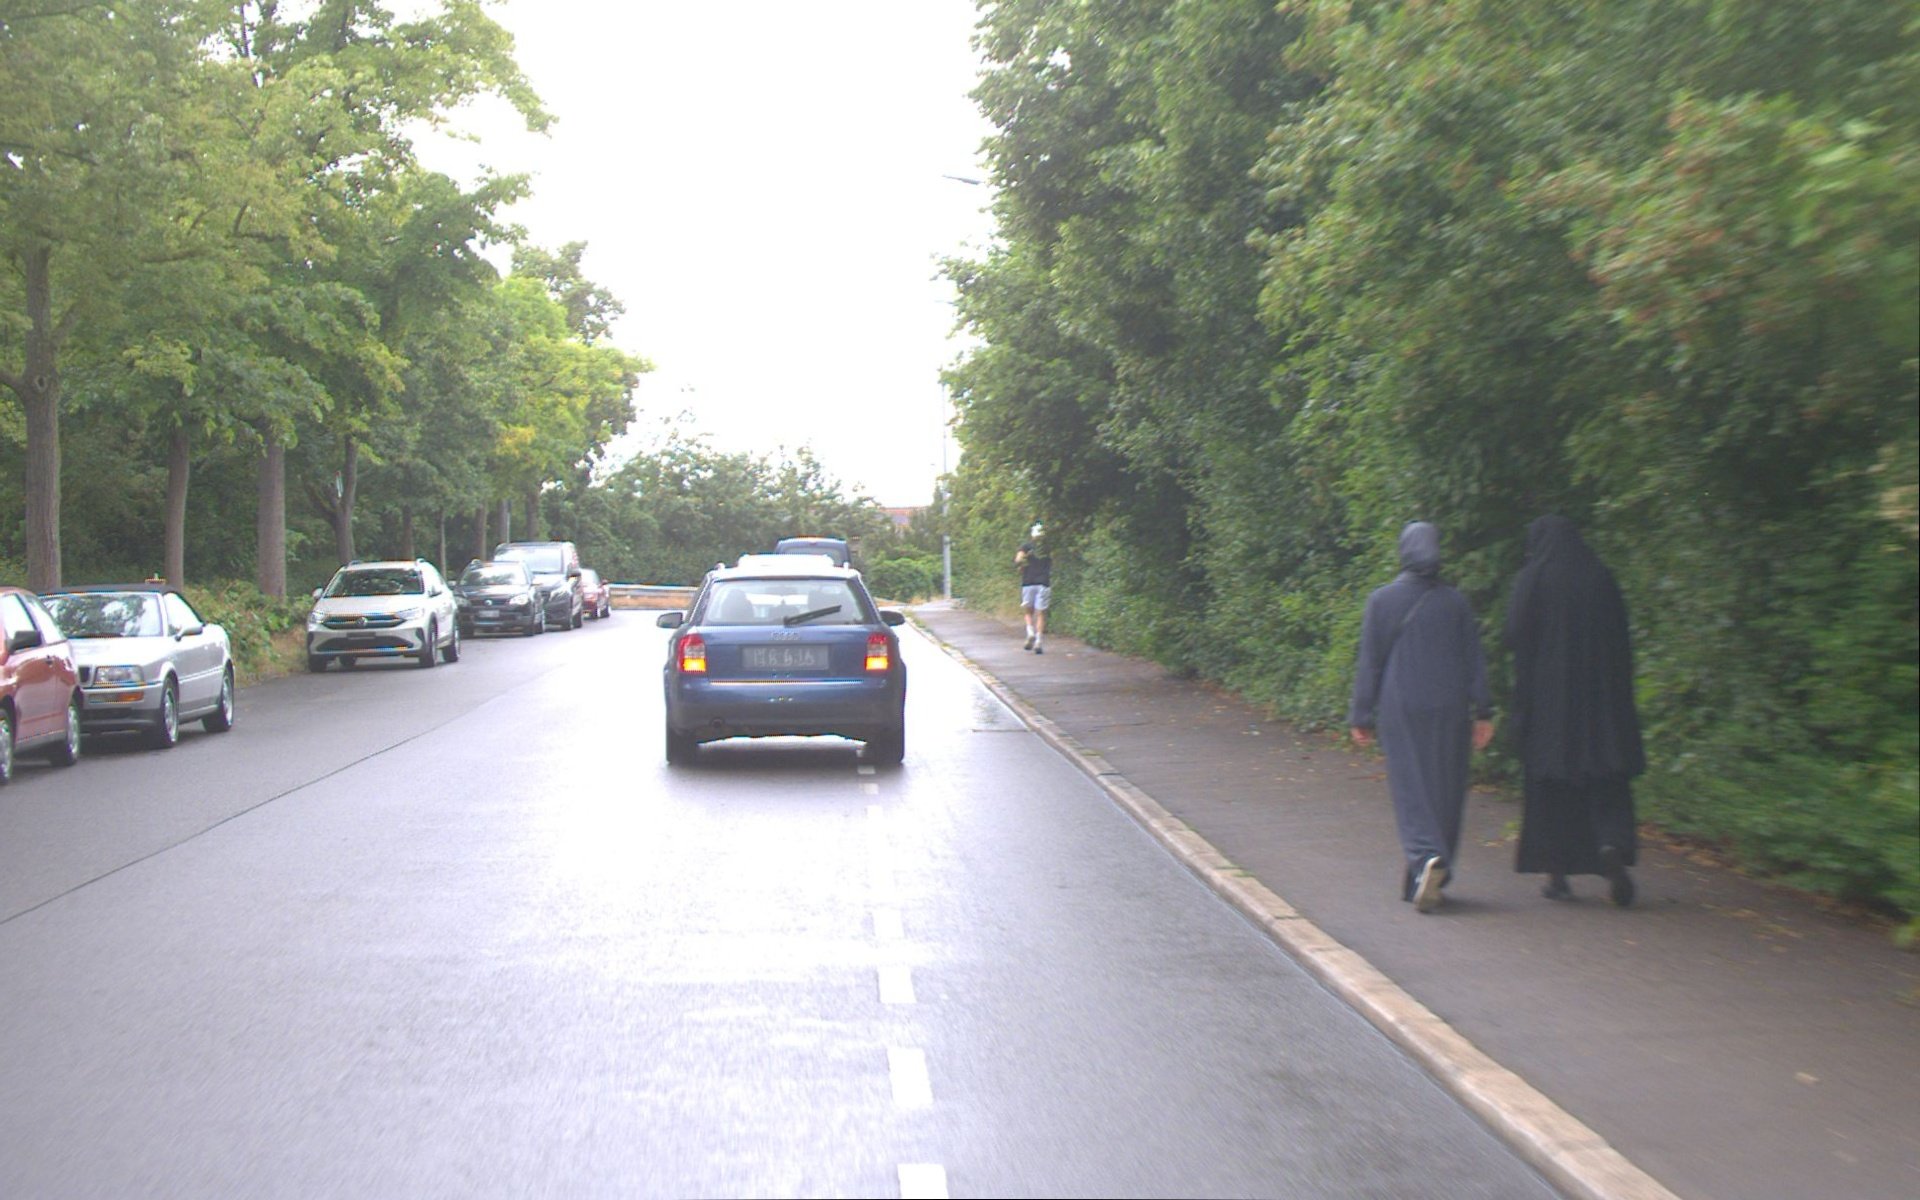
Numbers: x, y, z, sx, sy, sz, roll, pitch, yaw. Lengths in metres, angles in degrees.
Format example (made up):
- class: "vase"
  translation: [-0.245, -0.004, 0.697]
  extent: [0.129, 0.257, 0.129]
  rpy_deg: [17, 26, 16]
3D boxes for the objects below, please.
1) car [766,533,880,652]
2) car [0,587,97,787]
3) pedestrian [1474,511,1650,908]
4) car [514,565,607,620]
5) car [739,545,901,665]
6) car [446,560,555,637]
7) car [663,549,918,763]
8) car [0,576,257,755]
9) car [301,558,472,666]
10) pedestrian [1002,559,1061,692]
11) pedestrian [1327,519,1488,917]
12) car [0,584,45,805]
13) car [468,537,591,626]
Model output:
- class: "car"
  translation: [-2.524, -0.102, 62.416]
  extent: [1.788, 1.947, 4.000]
  rpy_deg: [-4, -1, -4]
- class: "car"
  translation: [-7.454, 0.607, 25.014]
  extent: [1.595, 1.357, 4.002]
  rpy_deg: [-2, 0, -4]
- class: "pedestrian"
  translation: [2.429, 0.430, 13.929]
  extent: [0.595, 1.561, 0.669]
  rpy_deg: [-1, 1, 2]
- class: "car"
  translation: [-9.941, -0.189, 85.850]
  extent: [1.789, 1.292, 4.325]
  rpy_deg: [-2, 0, 0]
- class: "car"
  translation: [-1.694, 0.060, 42.791]
  extent: [1.890, 1.384, 4.000]
  rpy_deg: [-1, 0, -1]
- class: "car"
  translation: [-9.169, -0.041, 68.845]
  extent: [1.797, 1.432, 4.256]
  rpy_deg: [-2, 0, -3]
- class: "car"
  translation: [-1.298, 0.360, 25.916]
  extent: [1.747, 1.402, 4.001]
  rpy_deg: [1, 2, -3]
- class: "car"
  translation: [-7.342, 0.521, 29.682]
  extent: [1.754, 1.397, 4.419]
  rpy_deg: [-2, 0, -2]
- class: "car"
  translation: [-8.136, 0.149, 49.085]
  extent: [1.689, 1.432, 4.256]
  rpy_deg: [-2, 0, 0]
- class: "pedestrian"
  translation: [1.013, 0.354, 48.834]
  extent: [0.716, 1.828, 1.021]
  rpy_deg: [-3, 1, 0]
- class: "pedestrian"
  translation: [1.799, 0.465, 13.868]
  extent: [0.552, 1.561, 0.487]
  rpy_deg: [-2, 0, 3]
- class: "car"
  translation: [-7.109, 0.653, 20.469]
  extent: [1.993, 1.400, 4.714]
  rpy_deg: [-2, 0, 0]
- class: "car"
  translation: [-9.326, -0.406, 74.815]
  extent: [2.083, 1.813, 5.381]
  rpy_deg: [-2, 0, -1]
